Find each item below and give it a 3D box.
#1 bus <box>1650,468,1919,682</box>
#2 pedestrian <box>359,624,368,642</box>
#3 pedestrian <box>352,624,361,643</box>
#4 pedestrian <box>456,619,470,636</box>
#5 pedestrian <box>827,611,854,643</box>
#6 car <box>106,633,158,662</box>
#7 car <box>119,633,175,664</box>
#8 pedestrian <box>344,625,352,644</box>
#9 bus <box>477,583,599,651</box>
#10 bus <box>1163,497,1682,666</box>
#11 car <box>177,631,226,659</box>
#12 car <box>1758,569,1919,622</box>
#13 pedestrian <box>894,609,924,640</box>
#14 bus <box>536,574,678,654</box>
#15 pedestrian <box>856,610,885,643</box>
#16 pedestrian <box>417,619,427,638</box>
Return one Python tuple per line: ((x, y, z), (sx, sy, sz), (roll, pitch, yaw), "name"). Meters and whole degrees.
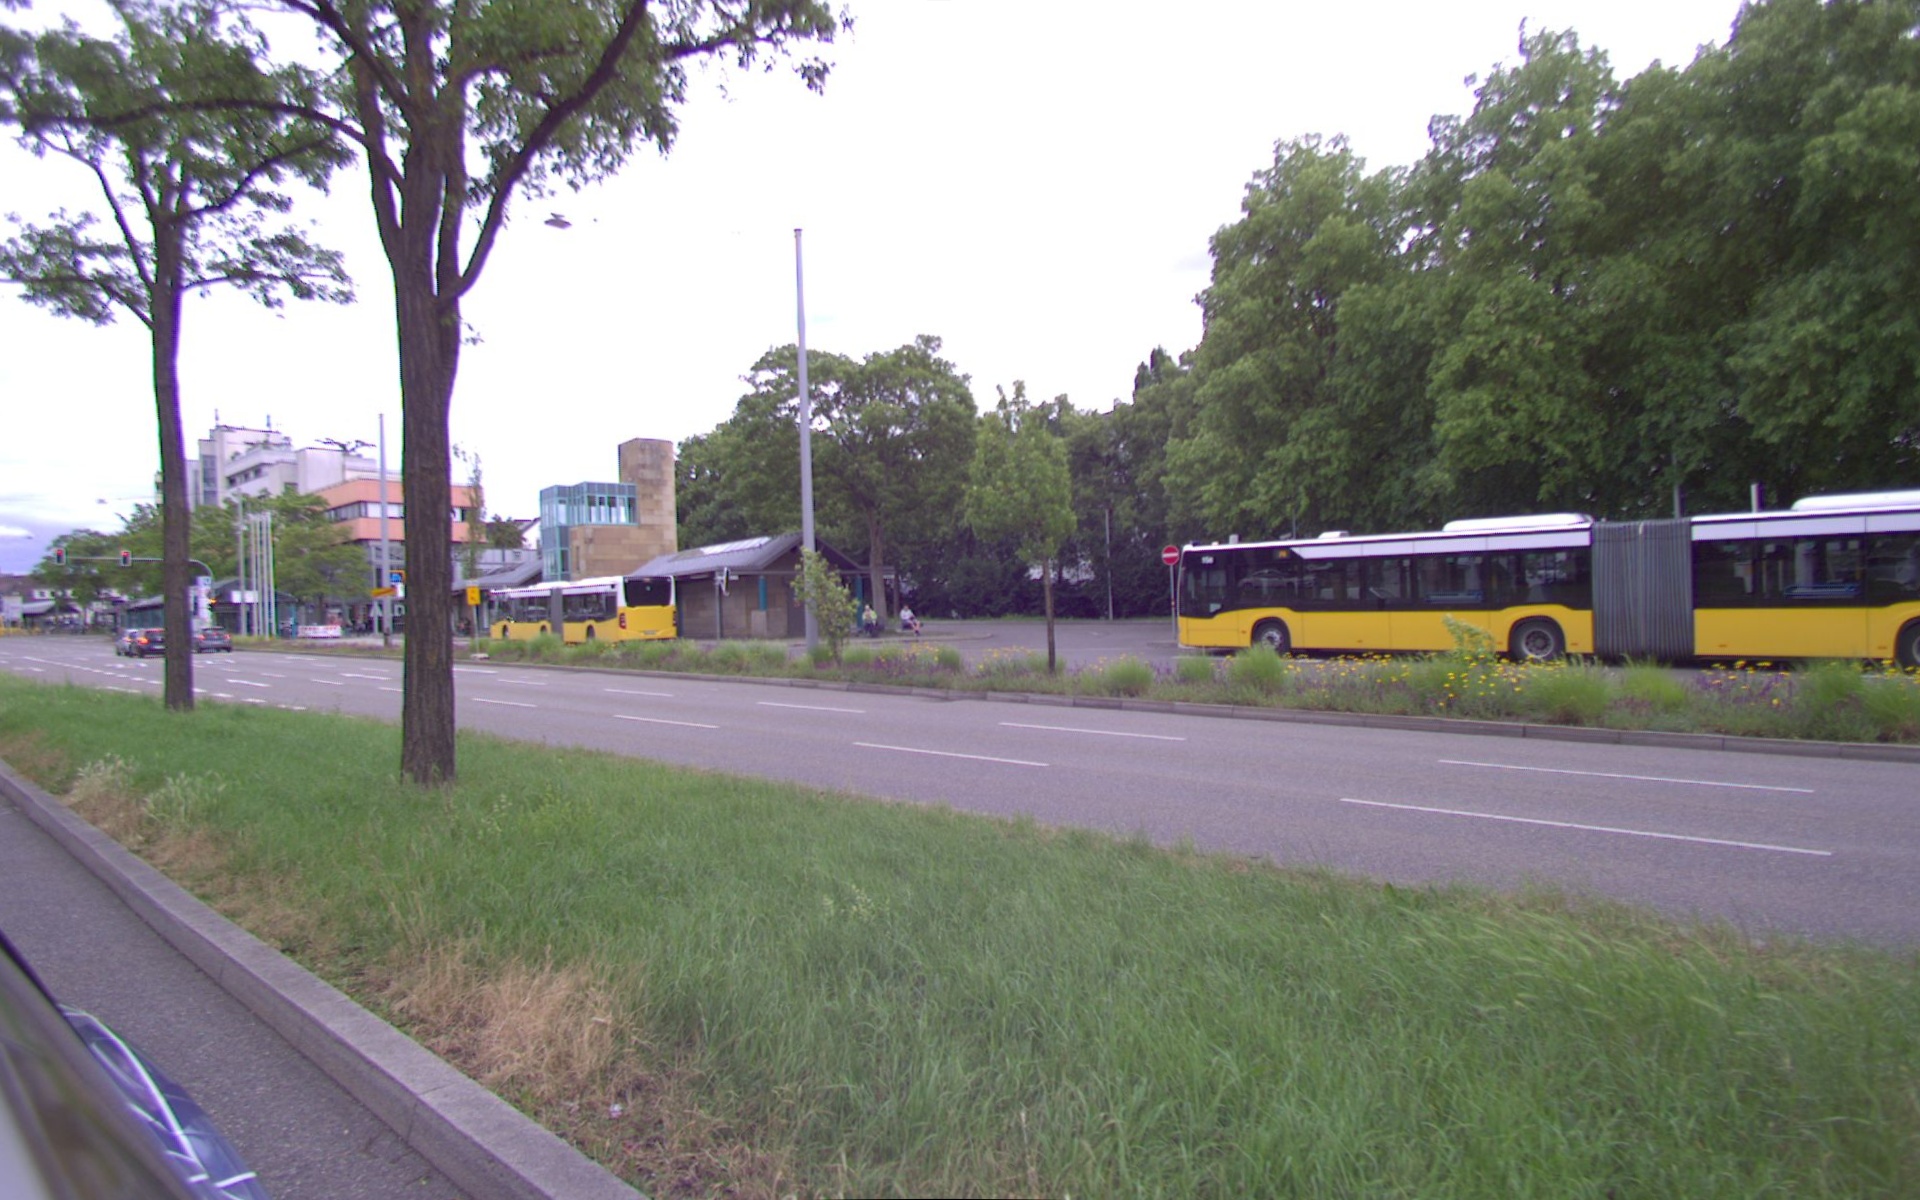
((17.643, -0.502, 16.665), (9.915, 3.481, 2.997), (-2, 0, 45), "bus")
((-51.311, 2.842, 87.015), (0.381, 1.559, 0.481), (-2, -1, 26), "pedestrian")
((-51.294, 2.829, 86.042), (0.382, 1.559, 0.480), (-2, -1, 33), "pedestrian")
((-33.362, 1.857, 67.948), (0.612, 1.129, 0.658), (-1, -1, -44), "pedestrian")
((-5.002, 1.126, 42.332), (0.886, 1.264, 0.854), (-2, -1, 13), "pedestrian")
((-46.860, 2.693, 57.276), (3.789, 1.476, 1.727), (-3, -1, 42), "car")
((-42.395, 2.485, 52.738), (3.767, 1.519, 1.641), (-2, -1, 42), "car")
((-51.856, 2.921, 85.698), (0.522, 1.559, 0.756), (-2, -1, -33), "pedestrian")
((-22.091, 0.921, 52.578), (2.742, 3.155, 9.449), (-3, 1, -42), "bus")
((10.231, -0.229, 23.915), (10.741, 3.187, 3.049), (-2, -1, 45), "bus")
((-44.520, 2.611, 59.391), (1.794, 1.519, 4.003), (-1, -1, -44), "car")
((29.332, -0.116, 33.573), (4.249, 1.593, 1.971), (-3, -1, 45), "car")
((-2.092, 1.012, 41.719), (0.858, 1.264, 0.883), (-2, -1, 42), "pedestrian")
((-16.145, 0.682, 45.756), (2.775, 3.155, 9.314), (-4, 1, -40), "bus")
((-3.612, 1.058, 40.916), (0.888, 1.300, 0.853), (-2, -1, 17), "pedestrian")
((-42.194, 2.210, 79.397), (0.581, 1.472, 0.995), (-2, 0, -25), "pedestrian")
